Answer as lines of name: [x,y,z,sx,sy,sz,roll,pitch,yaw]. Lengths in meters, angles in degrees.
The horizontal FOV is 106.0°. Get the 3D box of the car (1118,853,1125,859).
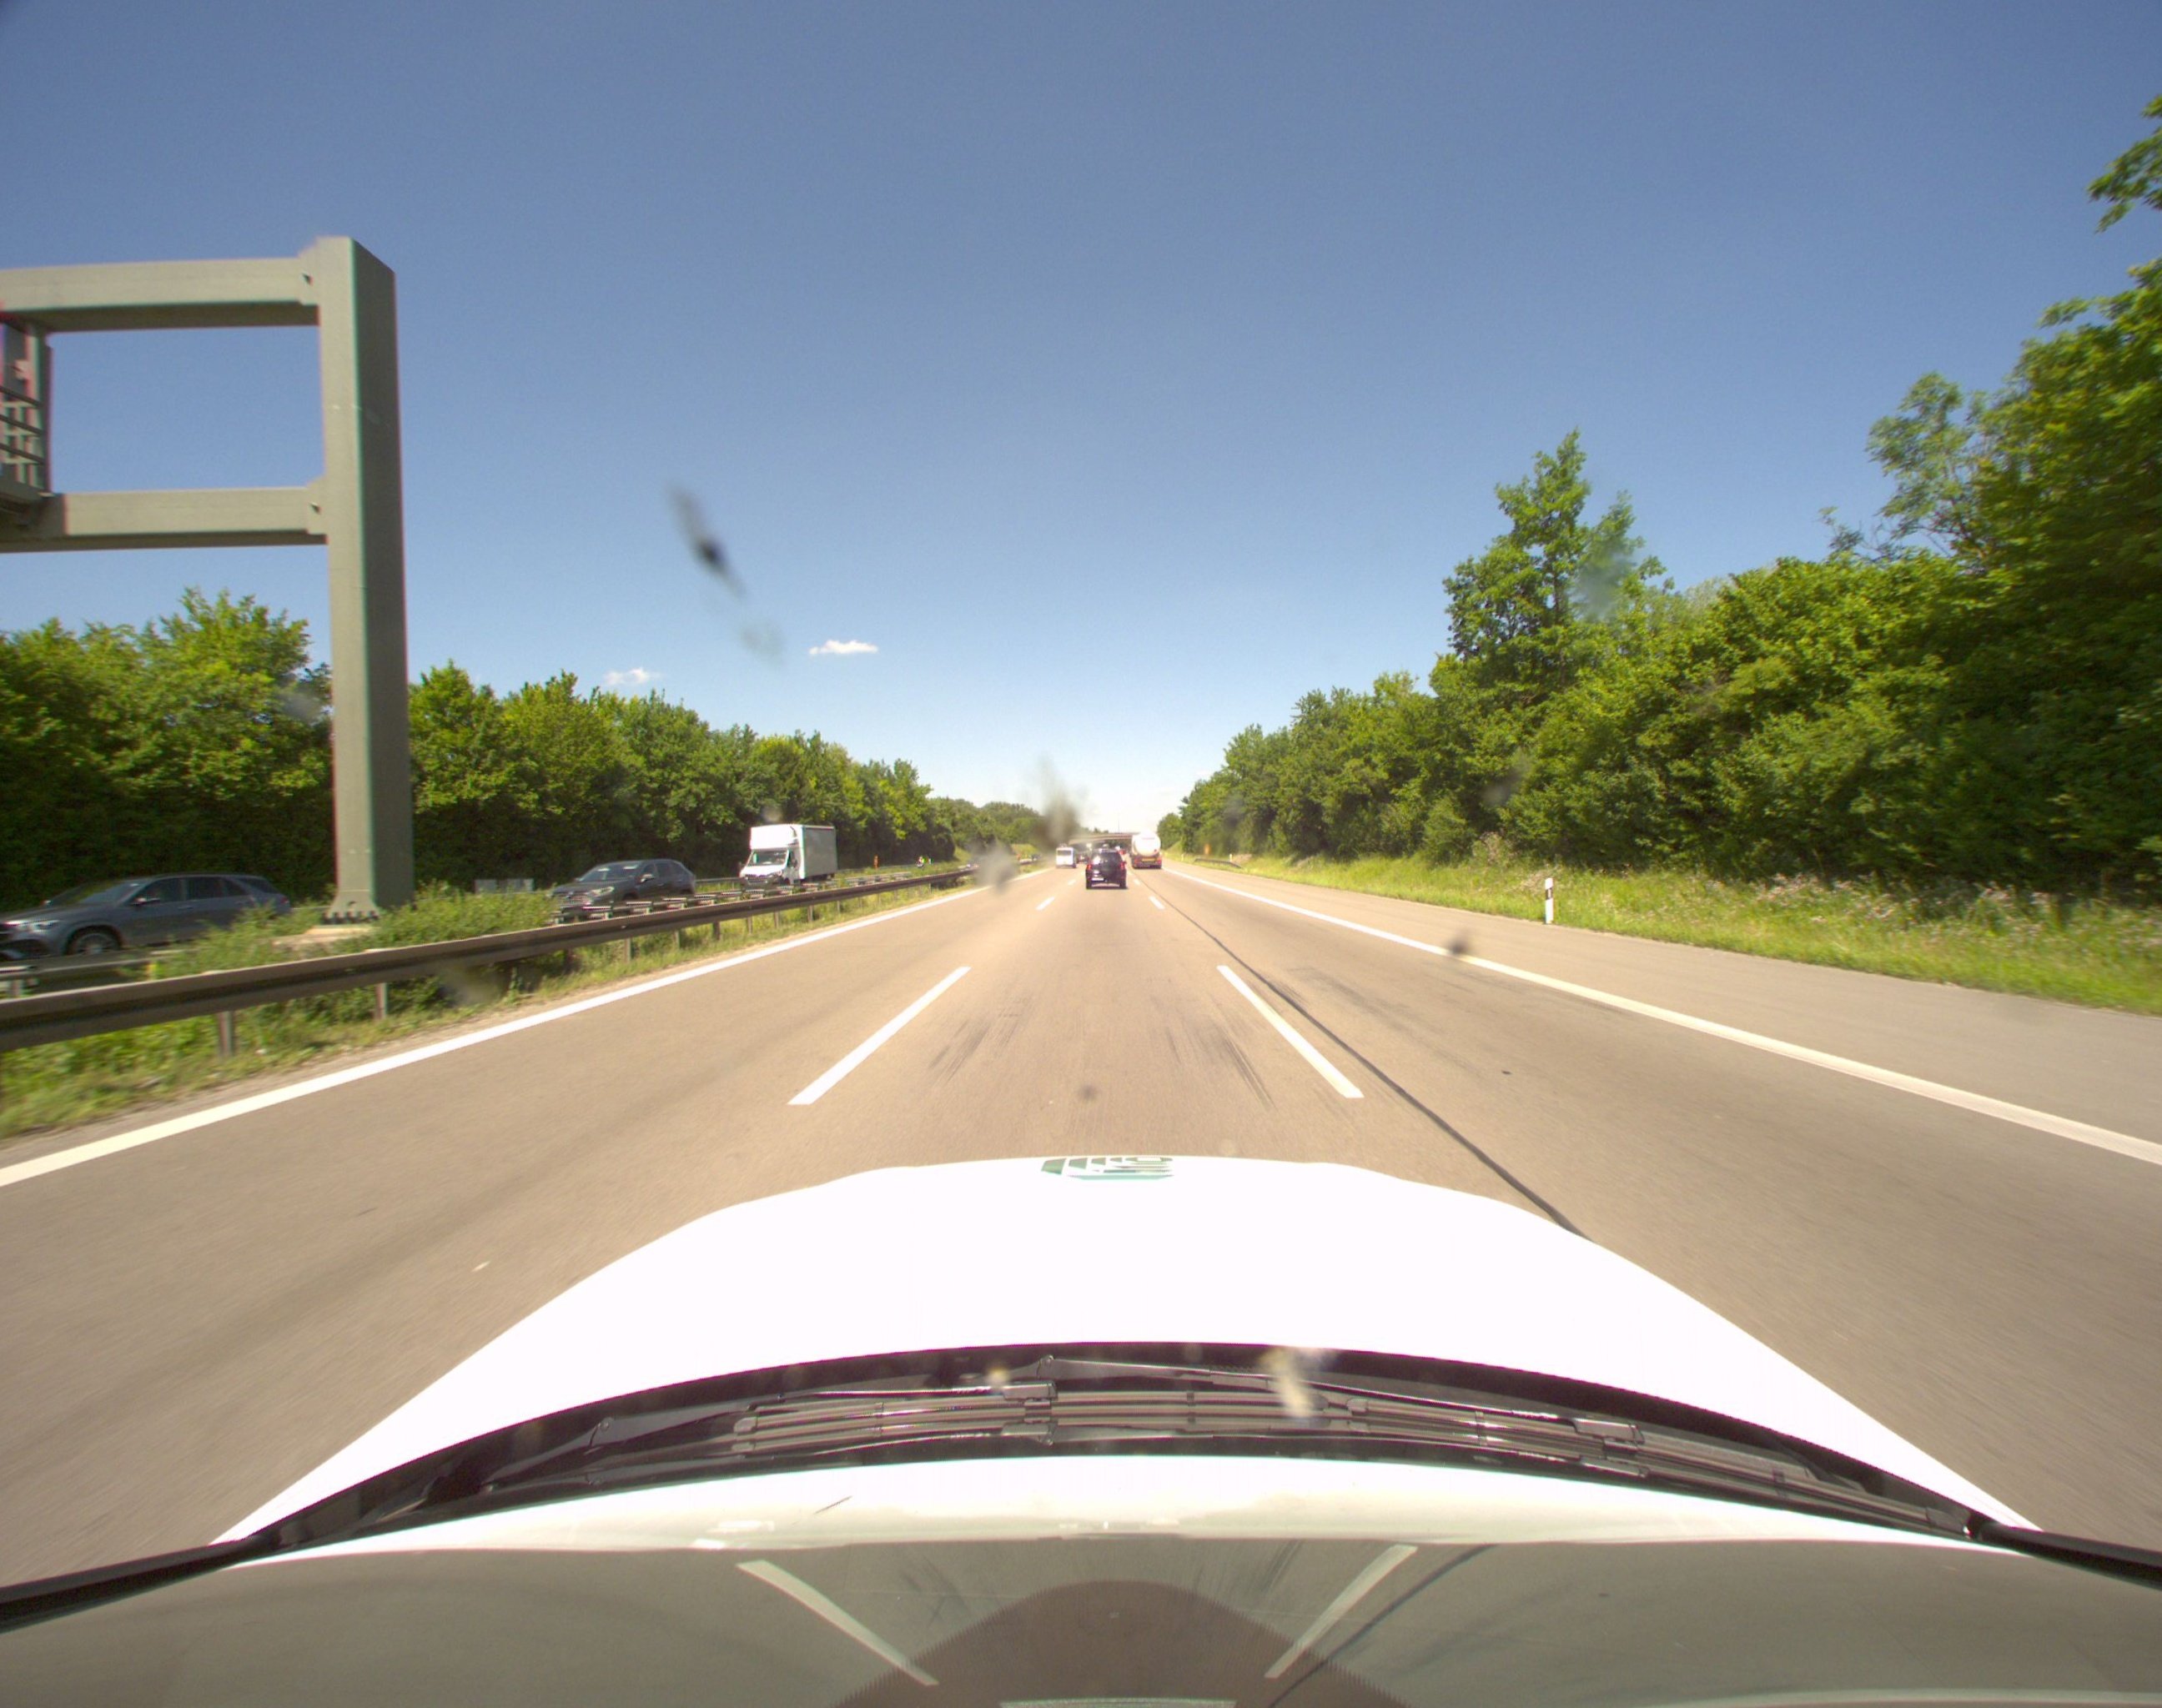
car: [11.482,0.629,230.098,1.986,1.574,4.002,-2,0,2]

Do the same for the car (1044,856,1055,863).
car: [-7.547,1.268,195.933,1.985,1.475,5.626,-1,0,3]

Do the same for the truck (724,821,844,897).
truck: [-14.381,0.293,40.226,2.769,3.305,8.059,-1,-1,1]

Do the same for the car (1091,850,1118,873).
car: [1.848,0.569,63.684,1.985,1.706,4.338,-2,0,2]

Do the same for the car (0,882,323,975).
car: [-19.172,1.431,16.961,1.895,1.465,5.067,-2,0,1]

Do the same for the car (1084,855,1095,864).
car: [1.535,0.995,146.688,1.986,1.574,4.002,-2,0,2]

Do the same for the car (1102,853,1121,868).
car: [3.583,0.792,94.607,1.984,1.684,4.004,-1,-1,4]

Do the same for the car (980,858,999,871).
car: [-11.943,1.394,106.756,1.860,1.585,4.560,-1,0,2]

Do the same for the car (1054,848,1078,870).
car: [-1.464,0.489,80.242,1.985,2.013,4.954,-2,0,3]

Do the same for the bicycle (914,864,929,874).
bicycle: [-15.974,1.519,81.718,0.898,0.916,2.734,-1,-1,2]

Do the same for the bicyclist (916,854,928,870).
bicyclist: [-15.988,0.846,81.710,0.877,1.576,1.287,-1,-1,1]

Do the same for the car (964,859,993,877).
car: [-9.485,1.254,75.832,1.986,1.598,4.594,-1,0,2]

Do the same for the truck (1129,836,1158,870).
truck: [6.345,-0.115,83.784,2.628,3.374,6.489,0,0,1]

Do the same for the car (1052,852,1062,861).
car: [-4.950,0.474,168.579,1.684,1.882,5.020,-1,0,1]

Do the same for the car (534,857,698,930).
car: [-11.800,0.930,21.015,1.772,1.618,4.062,-1,0,2]

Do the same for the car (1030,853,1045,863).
car: [-6.974,0.645,130.137,1.986,1.520,4.429,-1,0,1]

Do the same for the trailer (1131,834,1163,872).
trailer: [6.194,-0.099,78.012,2.638,3.390,11.157,0,0,2]

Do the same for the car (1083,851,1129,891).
car: [1.170,0.737,36.497,1.898,1.665,4.004,-1,0,4]

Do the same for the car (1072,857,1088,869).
car: [-0.076,1.155,106.808,1.986,1.552,4.001,-1,-1,2]
